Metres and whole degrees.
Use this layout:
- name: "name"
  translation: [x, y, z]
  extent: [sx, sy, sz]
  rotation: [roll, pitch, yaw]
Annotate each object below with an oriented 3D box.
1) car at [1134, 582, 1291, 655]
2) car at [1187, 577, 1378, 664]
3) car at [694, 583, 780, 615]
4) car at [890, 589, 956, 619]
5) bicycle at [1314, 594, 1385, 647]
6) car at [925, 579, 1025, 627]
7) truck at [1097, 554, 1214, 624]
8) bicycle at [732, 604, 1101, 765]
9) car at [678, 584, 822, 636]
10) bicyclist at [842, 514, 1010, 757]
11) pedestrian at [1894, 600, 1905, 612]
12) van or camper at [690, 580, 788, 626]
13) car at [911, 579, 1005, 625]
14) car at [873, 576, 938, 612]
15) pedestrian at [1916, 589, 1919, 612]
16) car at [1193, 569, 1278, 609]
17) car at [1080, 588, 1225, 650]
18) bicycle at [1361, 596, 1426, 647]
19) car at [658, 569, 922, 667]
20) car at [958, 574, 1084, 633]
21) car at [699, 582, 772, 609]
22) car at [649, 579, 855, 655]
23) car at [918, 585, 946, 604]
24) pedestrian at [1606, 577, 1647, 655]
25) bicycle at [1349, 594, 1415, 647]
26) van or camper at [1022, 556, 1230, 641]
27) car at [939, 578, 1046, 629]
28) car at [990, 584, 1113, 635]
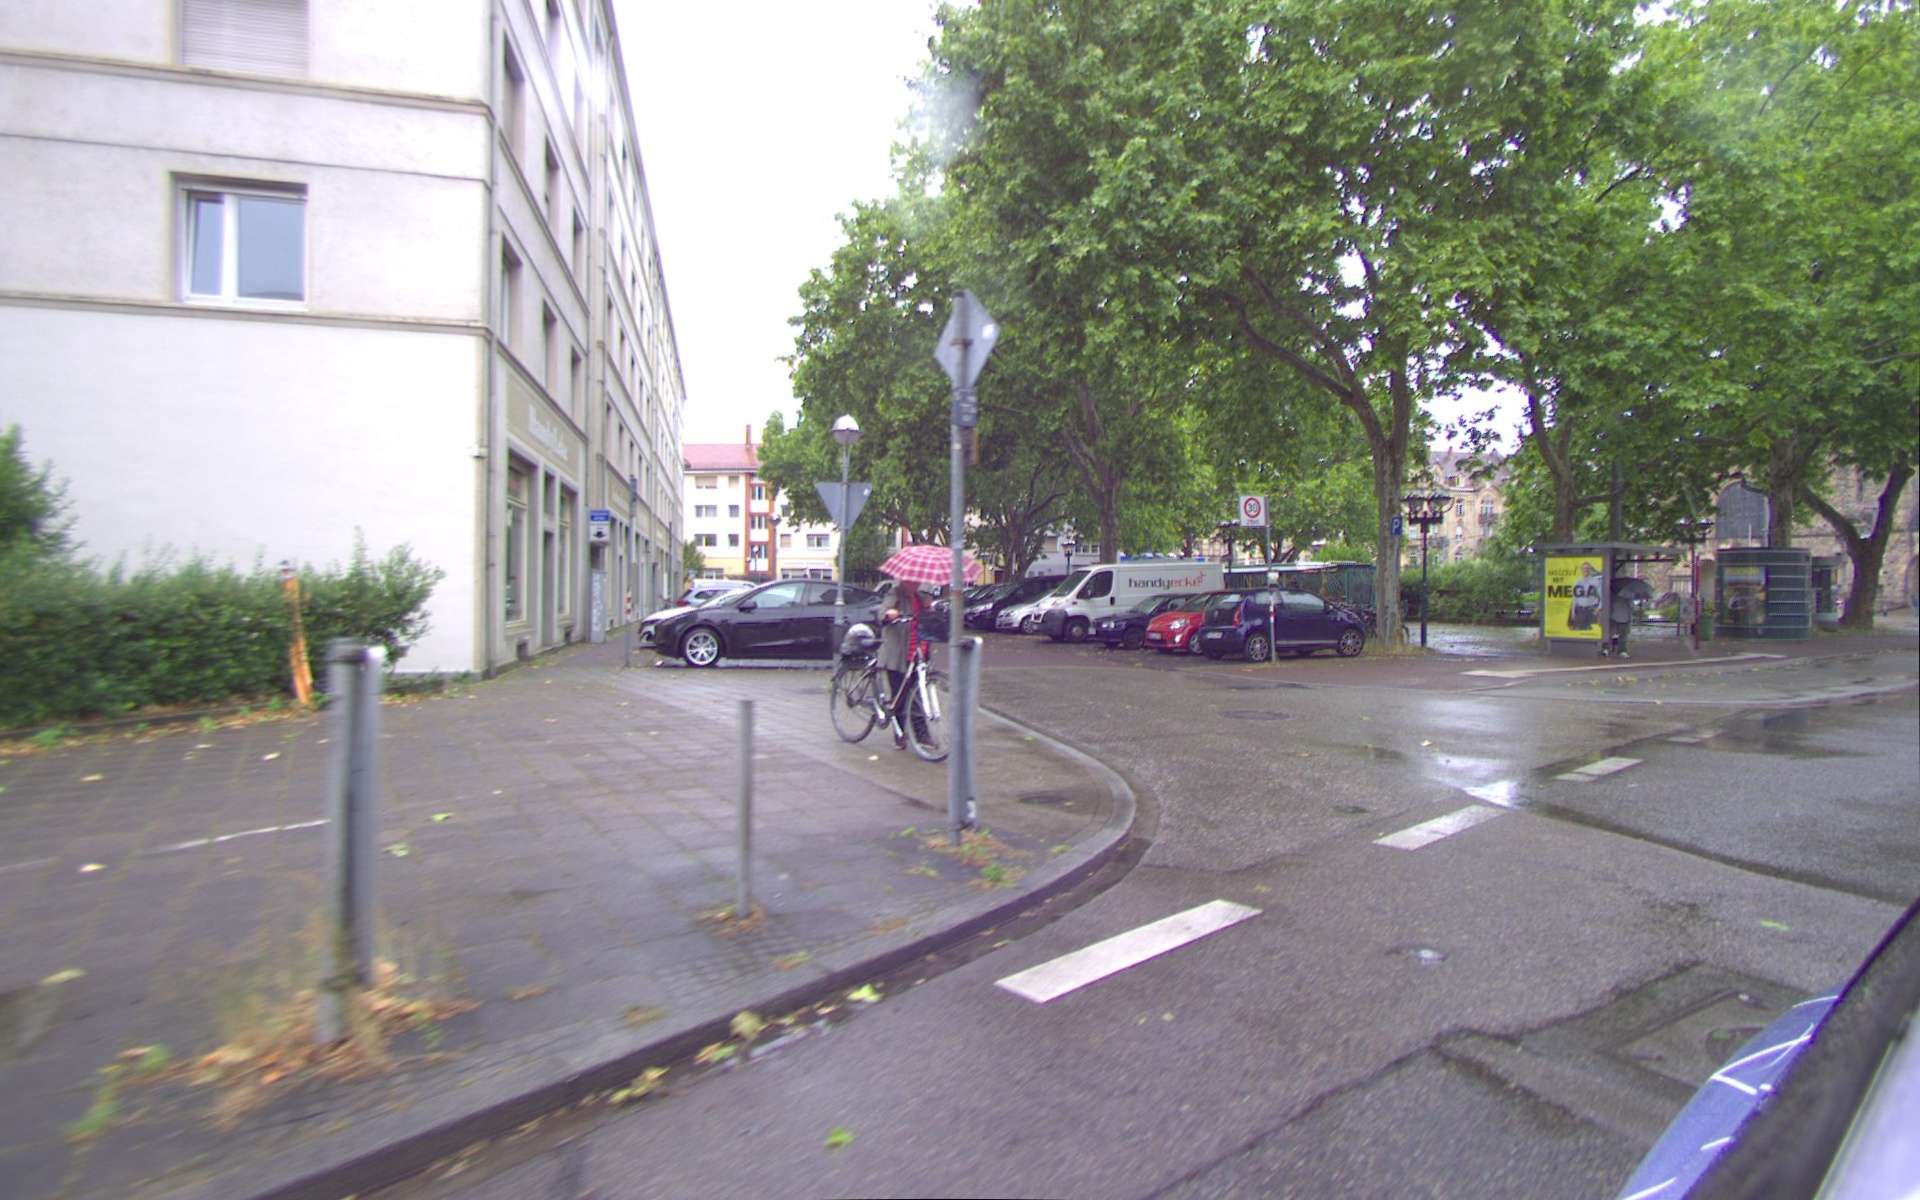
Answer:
- name: "car"
  translation: [5.875, 0.373, 23.492]
  extent: [3.321, 1.474, 1.532]
  rotation: [-3, 1, -27]
- name: "car"
  translation: [6.658, 0.370, 20.943]
  extent: [3.449, 1.570, 1.697]
  rotation: [-2, 1, -22]
- name: "car"
  translation: [-12.300, -0.036, 55.781]
  extent: [4.533, 1.649, 2.003]
  rotation: [0, -2, -14]
- name: "car"
  translation: [-1.995, 0.183, 54.647]
  extent: [3.297, 1.484, 1.557]
  rotation: [-2, 1, -12]
- name: "bicycle"
  translation: [9.772, 0.484, 25.440]
  extent: [0.695, 1.274, 1.845]
  rotation: [0, 1, -16]
- name: "car"
  translation: [0.626, 0.098, 43.458]
  extent: [3.917, 1.860, 1.843]
  rotation: [-2, 1, -12]
- name: "truck"
  translation: [8.097, -0.473, 42.808]
  extent: [2.220, 2.733, 6.414]
  rotation: [0, 1, -16]
- name: "bicycle"
  translation: [-0.462, 0.623, 8.697]
  extent: [3.195, 1.126, 1.041]
  rotation: [1, -1, 35]
- name: "car"
  translation: [-6.984, 0.334, 33.568]
  extent: [4.533, 1.649, 2.003]
  rotation: [0, -2, -14]
- name: "bicyclist"
  translation: [-0.272, 0.272, 8.612]
  extent: [0.935, 1.892, 1.128]
  rotation: [0, 0, 35]
- name: "pedestrian"
  translation: [70.713, 0.414, 76.180]
  extent: [0.388, 0.895, 0.457]
  rotation: [0, 0, -17]
- name: "van or camper"
  translation: [-10.667, 0.155, 48.887]
  extent: [4.533, 2.118, 2.003]
  rotation: [0, -2, -14]
- name: "car"
  translation: [-0.103, 0.069, 45.882]
  extent: [3.917, 1.860, 1.843]
  rotation: [-2, 1, -12]
- name: "car"
  translation: [-3.643, -0.388, 67.479]
  extent: [4.013, 2.231, 1.557]
  rotation: [-2, 1, -12]
- name: "pedestrian"
  translation: [70.167, 0.042, 73.597]
  extent: [0.622, 1.724, 0.678]
  rotation: [0, 0, 1]
- name: "car"
  translation: [14.382, -0.592, 52.848]
  extent: [3.788, 2.039, 1.959]
  rotation: [0, 0, -12]
- name: "car"
  translation: [4.825, 0.449, 25.540]
  extent: [3.194, 1.353, 1.591]
  rotation: [-2, 1, -13]
- name: "bicycle"
  translation: [10.945, 0.518, 25.608]
  extent: [0.488, 1.210, 1.771]
  rotation: [0, 1, -16]
- name: "car"
  translation: [-3.126, 0.319, 18.539]
  extent: [4.533, 1.649, 2.003]
  rotation: [0, -2, -14]
- name: "car"
  translation: [2.100, 0.095, 35.445]
  extent: [3.917, 1.860, 2.166]
  rotation: [-2, 1, -12]
- name: "car"
  translation: [-14.426, -0.287, 64.920]
  extent: [4.533, 1.649, 2.003]
  rotation: [0, -2, -14]
- name: "car"
  translation: [-4.868, 0.397, 23.746]
  extent: [4.533, 1.649, 2.003]
  rotation: [0, -2, -14]
- name: "car"
  translation: [-2.305, -0.471, 83.249]
  extent: [1.642, 1.470, 4.008]
  rotation: [0, 1, -12]
- name: "pedestrian"
  translation: [14.781, 0.336, 22.459]
  extent: [0.712, 1.690, 0.658]
  rotation: [0, 0, 28]
- name: "bicycle"
  translation: [10.729, 0.498, 25.778]
  extent: [0.514, 1.274, 1.845]
  rotation: [0, 1, -16]
- name: "van or camper"
  translation: [4.627, -0.068, 28.679]
  extent: [5.318, 2.259, 2.408]
  rotation: [0, 1, -9]
- name: "car"
  translation: [1.281, 0.117, 40.588]
  extent: [3.917, 1.860, 1.843]
  rotation: [-2, 1, -12]
- name: "car"
  translation: [2.974, 0.287, 33.194]
  extent: [3.659, 1.449, 1.688]
  rotation: [-2, 1, -11]
